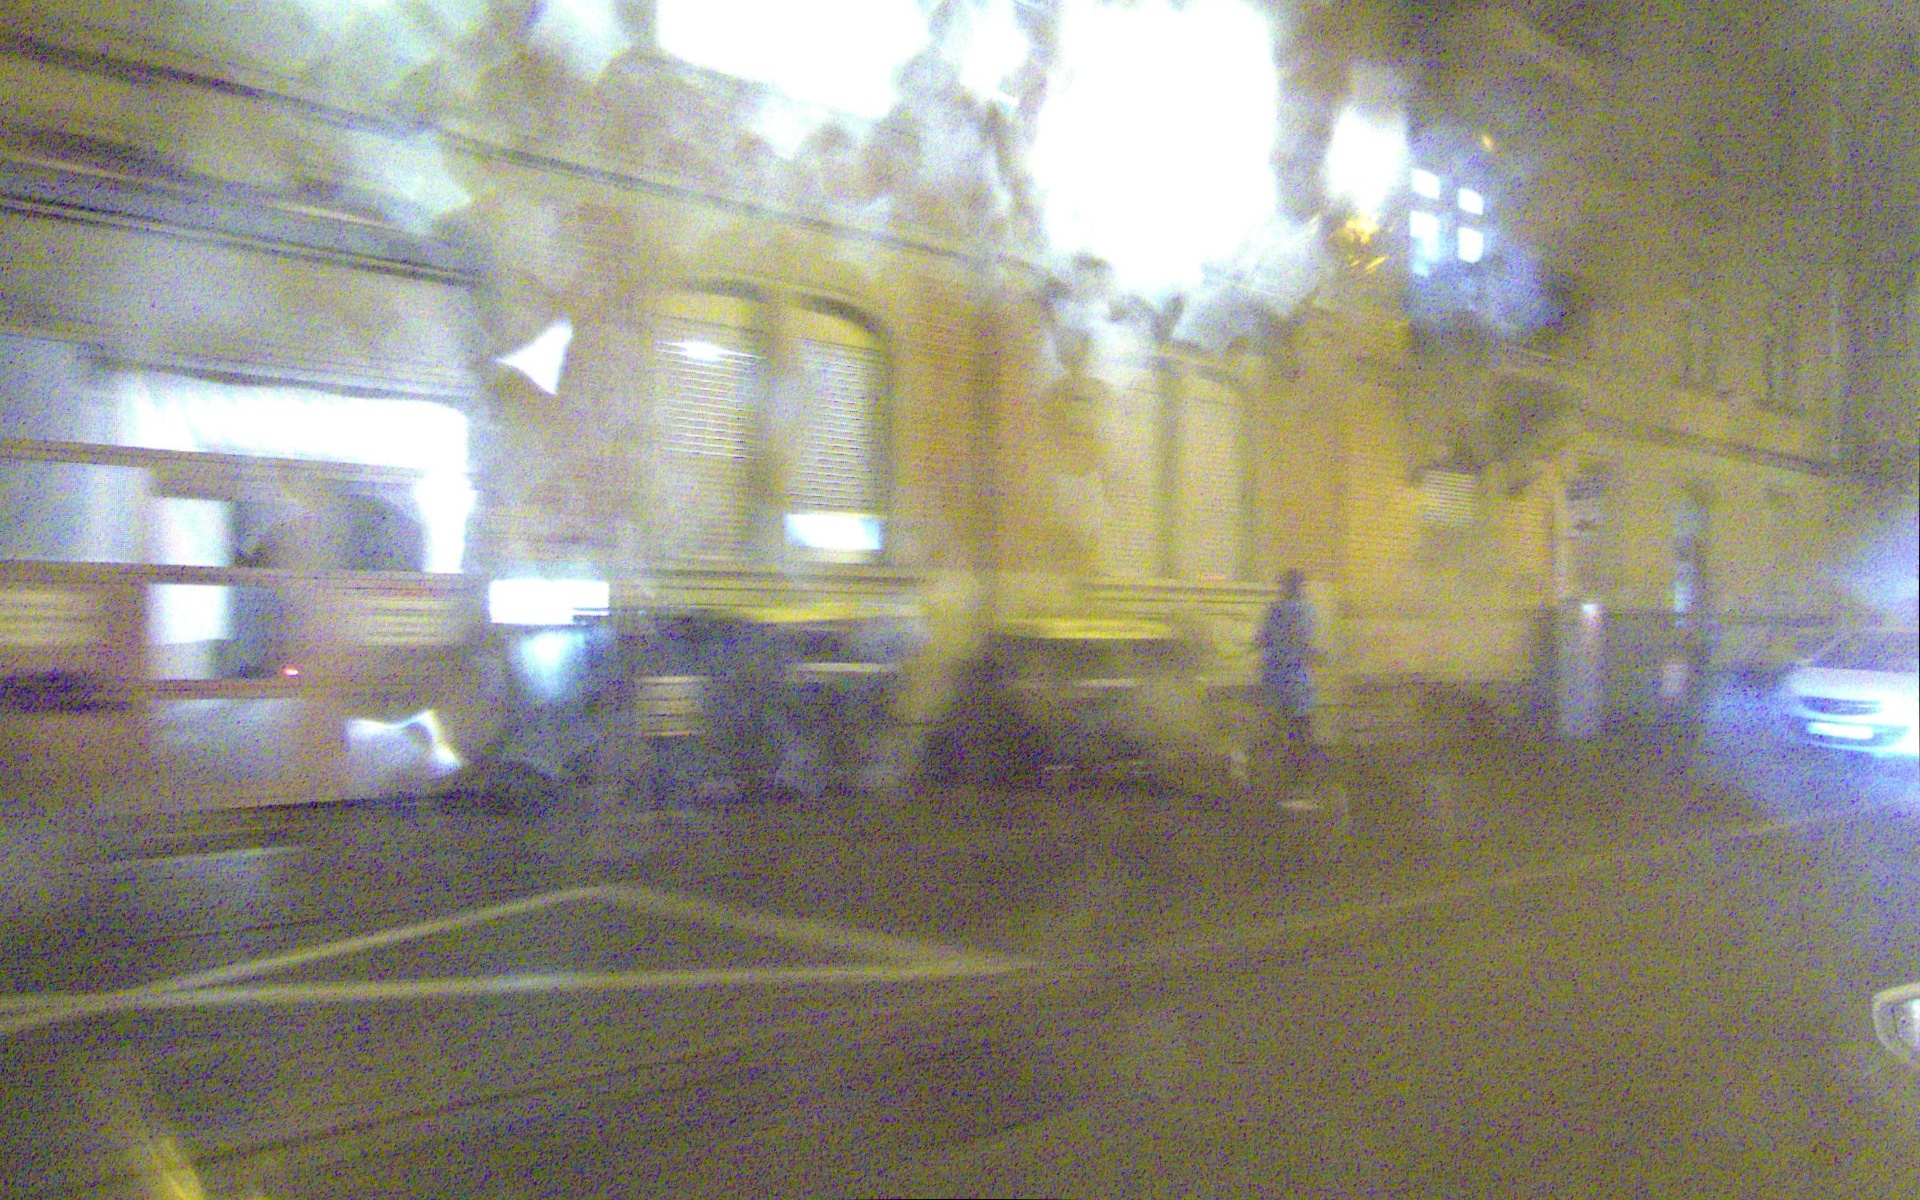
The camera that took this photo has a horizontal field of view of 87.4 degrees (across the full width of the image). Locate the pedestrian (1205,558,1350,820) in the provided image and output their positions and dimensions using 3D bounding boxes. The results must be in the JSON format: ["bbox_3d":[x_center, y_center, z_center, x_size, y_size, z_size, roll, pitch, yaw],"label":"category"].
[{"bbox_3d":[2.359,0.623,7.482,0.785,1.845,0.588,1,2,-30],"label":"pedestrian"}]

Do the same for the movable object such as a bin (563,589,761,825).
[{"bbox_3d":[-2.054,0.669,6.867,1.119,1.439,0.971,1,1,-27],"label":"movable object such as a bin"}]

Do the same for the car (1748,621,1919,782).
[{"bbox_3d":[10.513,1.017,11.048,3.747,1.502,1.580,1,0,-29],"label":"car"}]

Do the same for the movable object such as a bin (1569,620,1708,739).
[{"bbox_3d":[8.823,1.002,13.087,1.143,1.417,1.043,1,1,-27],"label":"movable object such as a bin"}]

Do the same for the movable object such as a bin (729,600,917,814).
[{"bbox_3d":[-1.048,0.742,7.544,1.119,1.439,0.971,1,1,-27],"label":"movable object such as a bin"}]

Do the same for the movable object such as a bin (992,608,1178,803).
[{"bbox_3d":[0.998,0.802,8.168,1.119,1.417,0.971,1,1,-27],"label":"movable object such as a bin"}]
